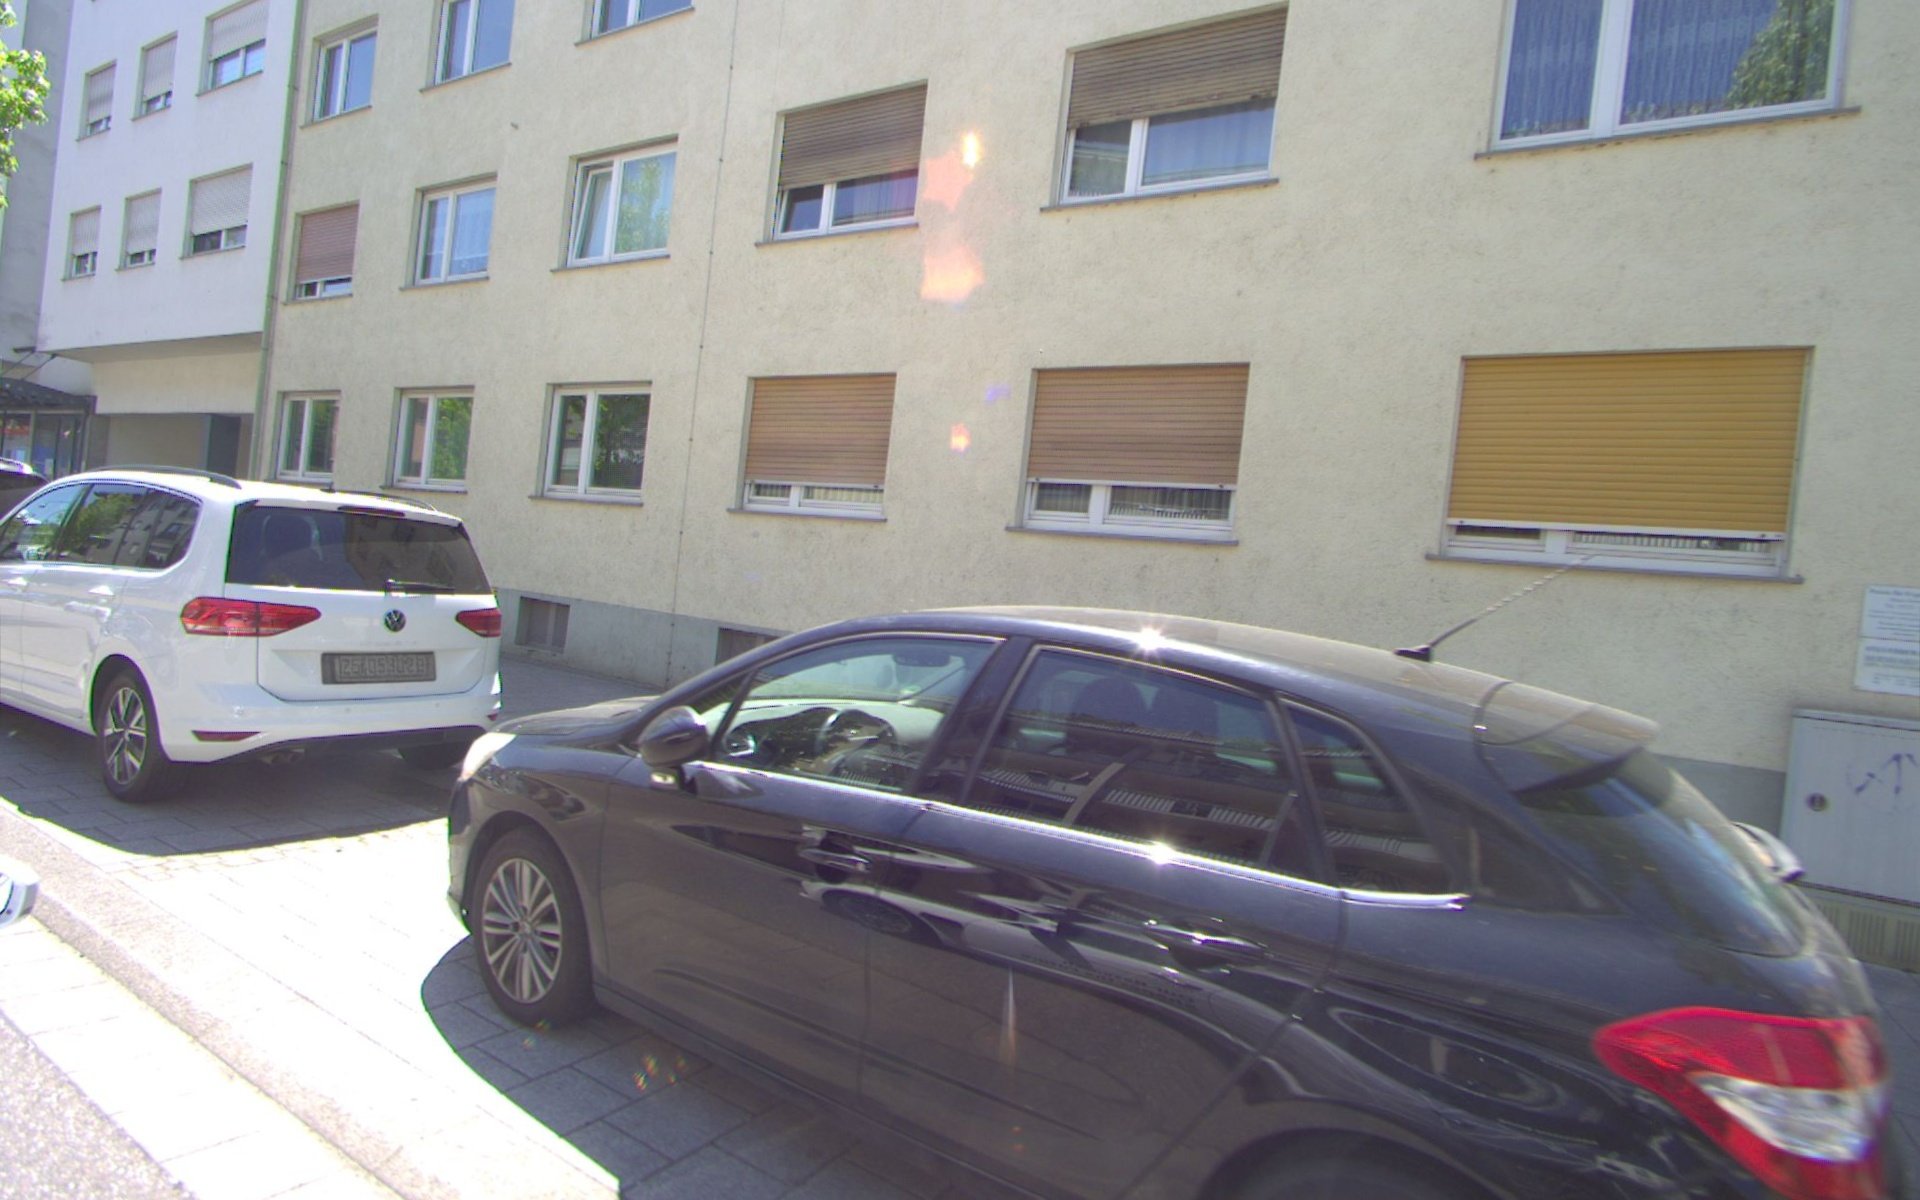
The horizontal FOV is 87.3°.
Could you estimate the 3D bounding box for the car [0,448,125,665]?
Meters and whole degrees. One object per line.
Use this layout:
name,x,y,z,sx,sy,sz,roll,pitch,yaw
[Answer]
car,-9.503,-0.574,8.805,4.459,1.696,1.857,7,2,30

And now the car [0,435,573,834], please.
car,-4.856,-0.019,6.379,4.610,1.696,1.898,7,2,30

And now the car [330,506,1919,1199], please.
car,0.189,0.685,3.133,4.471,1.456,1.897,7,0,34
